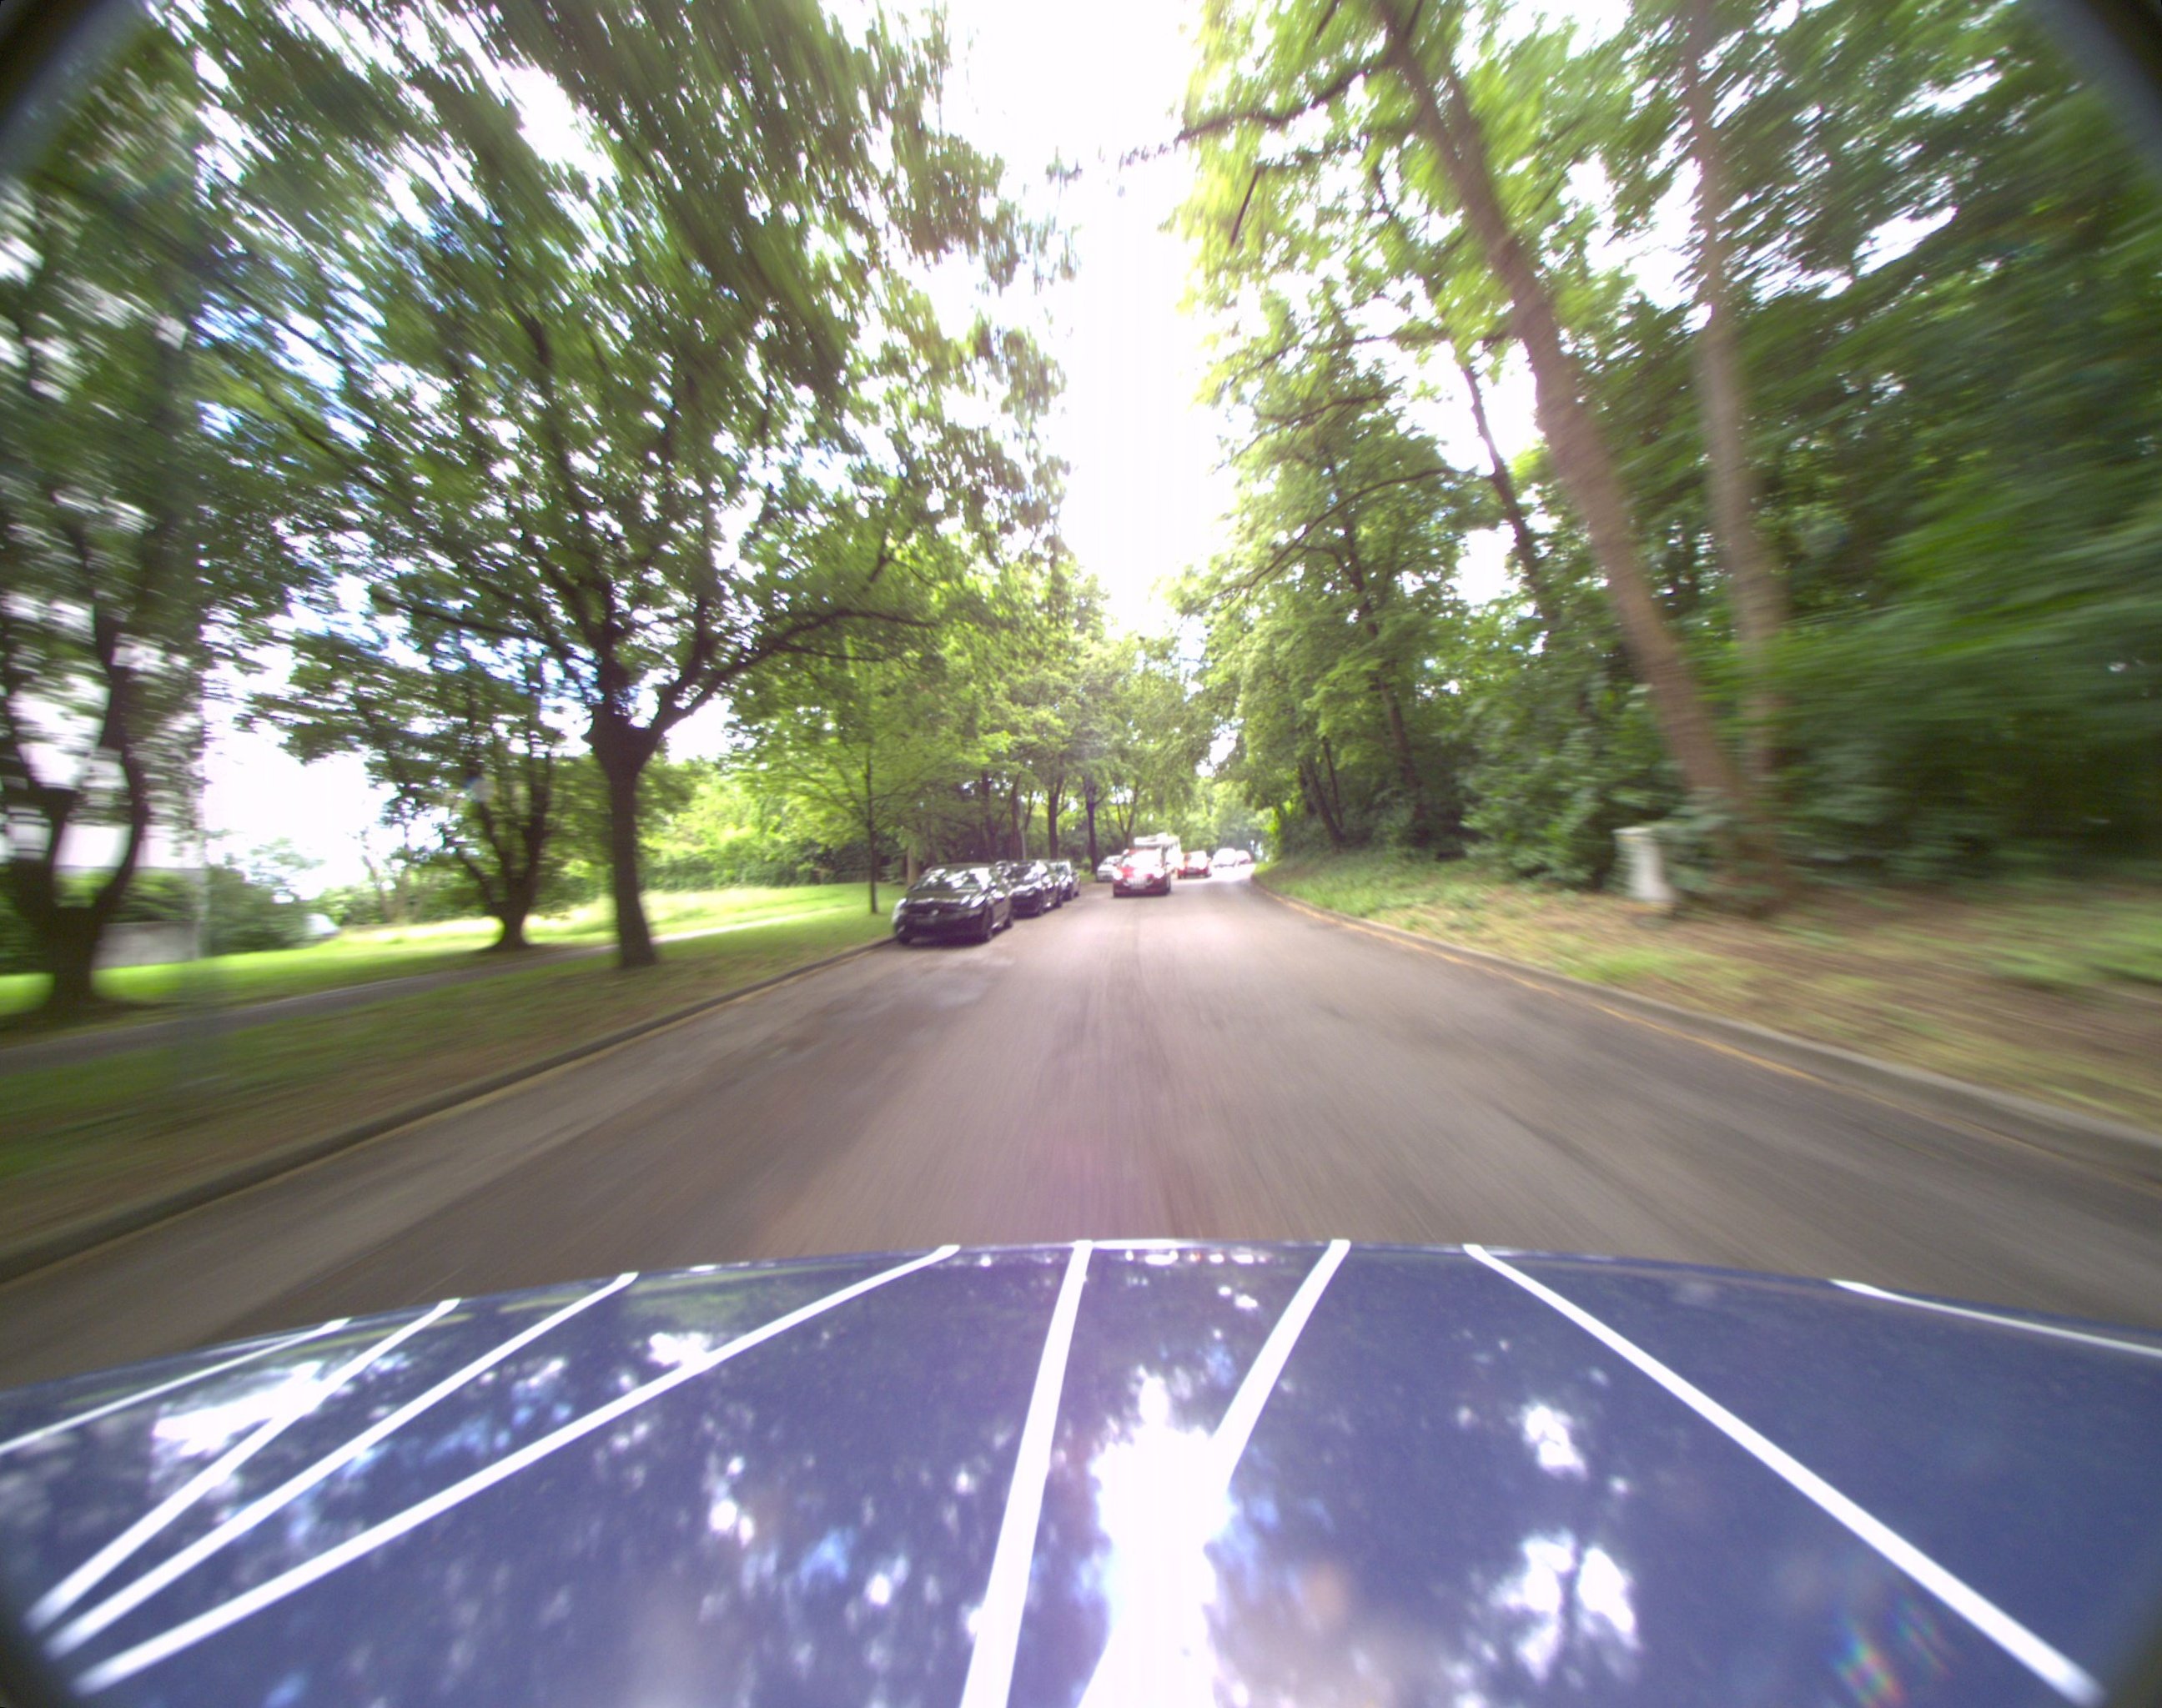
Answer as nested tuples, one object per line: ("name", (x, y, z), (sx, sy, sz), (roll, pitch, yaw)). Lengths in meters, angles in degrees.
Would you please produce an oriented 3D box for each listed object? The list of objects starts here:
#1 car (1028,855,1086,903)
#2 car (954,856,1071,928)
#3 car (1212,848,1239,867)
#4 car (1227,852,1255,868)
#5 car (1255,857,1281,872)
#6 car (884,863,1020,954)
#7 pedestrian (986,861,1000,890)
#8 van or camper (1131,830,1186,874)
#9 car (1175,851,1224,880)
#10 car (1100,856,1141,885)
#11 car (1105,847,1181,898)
("car", (-0.768, 0.846, 27.104), (1.593, 1.457, 4.318), (-4, -1, 4))
("car", (-1.677, 0.920, 20.541), (1.917, 1.602, 4.738), (-4, -1, 9))
("car", (12.647, 0.302, 66.652), (1.654, 1.558, 4.047), (-4, -1, 3))
("car", (17.861, 0.639, 84.621), (1.712, 1.543, 4.685), (-4, -1, 28))
("car", (21.360, 1.191, 86.797), (1.764, 1.559, 4.053), (-2, 0, 31))
("car", (-2.387, 0.964, 15.047), (1.686, 1.456, 3.899), (-4, -1, 4))
("pedestrian", (-5.122, 1.225, 44.423), (0.582, 1.642, 0.873), (-3, 0, 3))
("van or camper", (5.931, -0.157, 57.047), (2.427, 2.962, 7.403), (-4, -1, 18))
("car", (6.862, 0.620, 43.623), (1.955, 1.463, 4.683), (-4, -1, 18))
("car", (2.339, 0.928, 44.243), (1.691, 1.473, 4.110), (-4, -1, 12))
("car", (2.365, 0.614, 27.747), (2.001, 1.599, 4.682), (-4, -1, 13))
